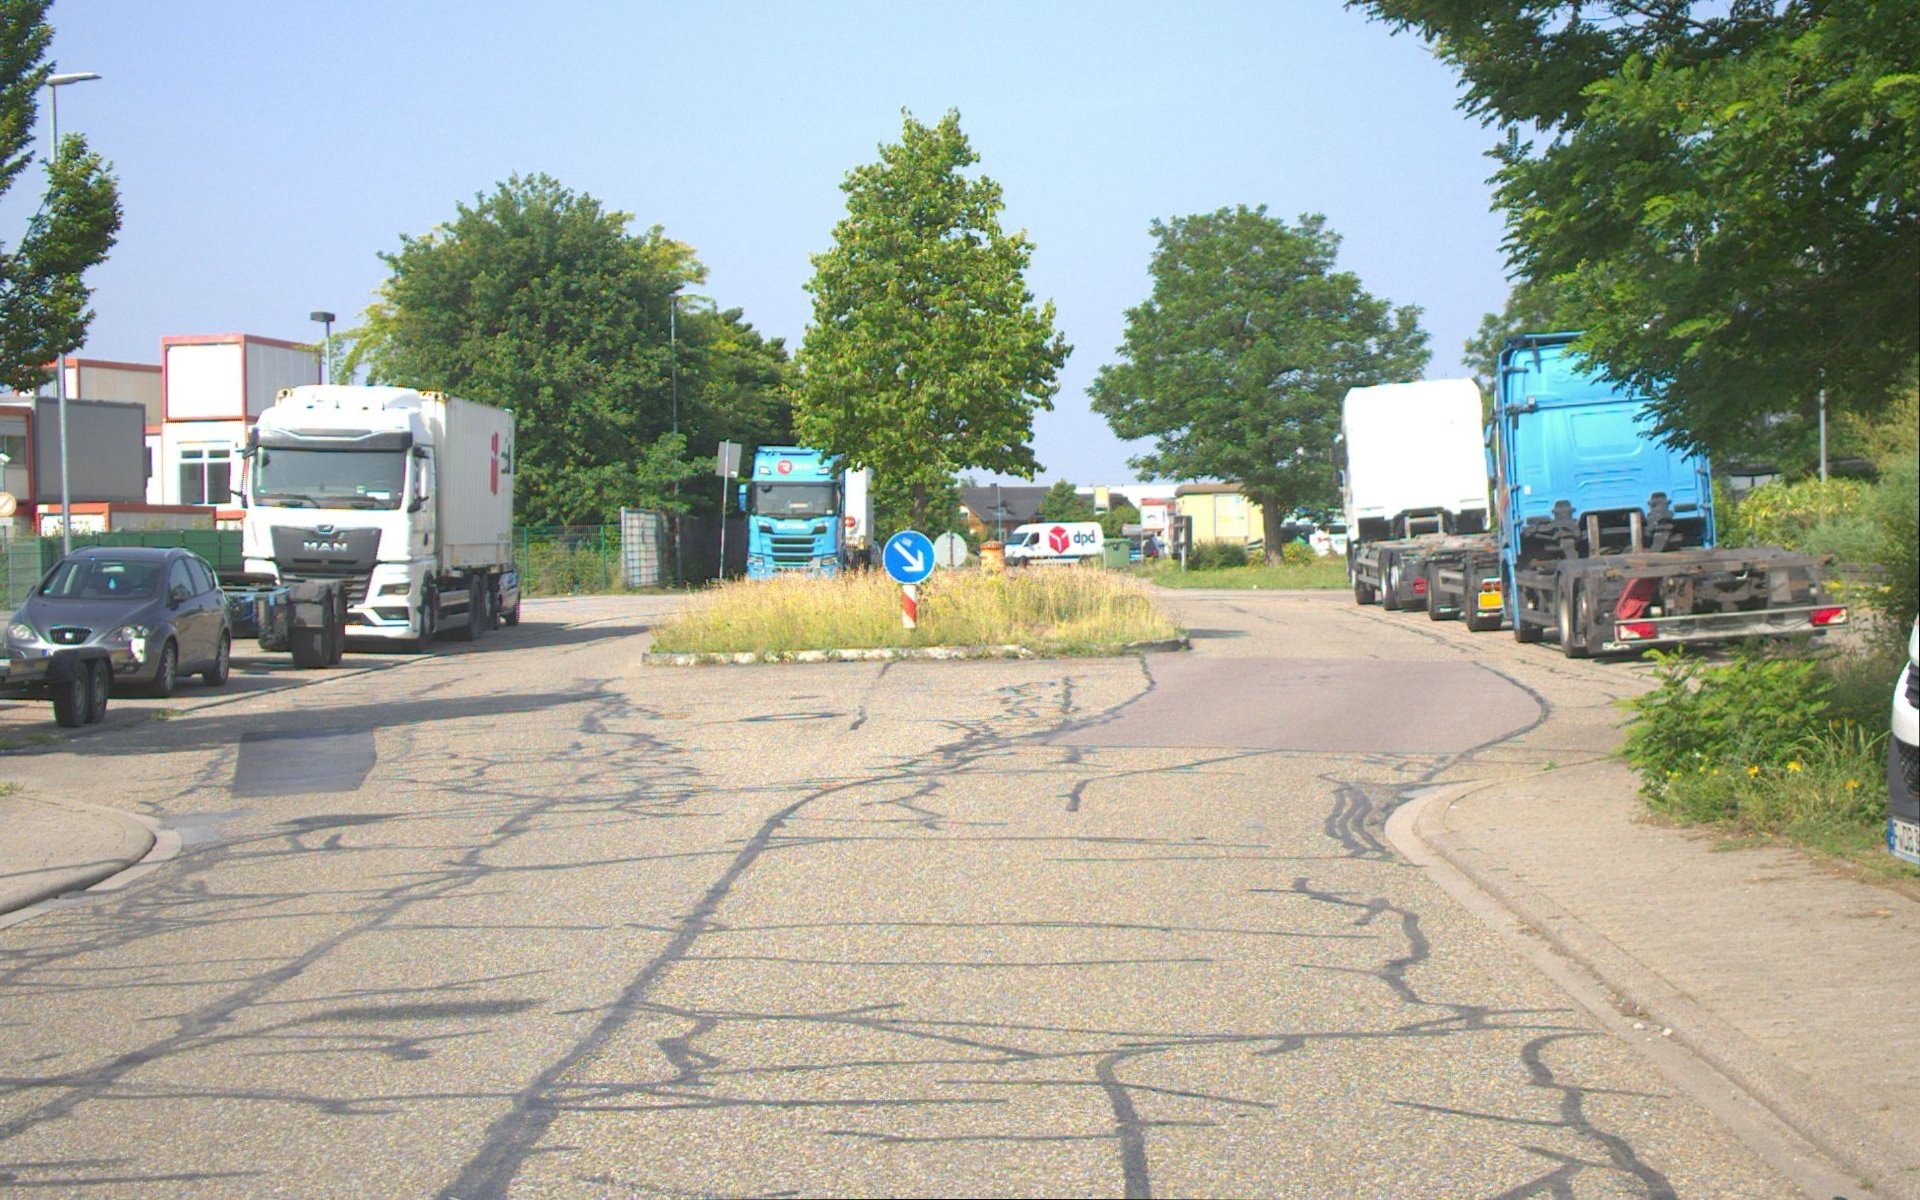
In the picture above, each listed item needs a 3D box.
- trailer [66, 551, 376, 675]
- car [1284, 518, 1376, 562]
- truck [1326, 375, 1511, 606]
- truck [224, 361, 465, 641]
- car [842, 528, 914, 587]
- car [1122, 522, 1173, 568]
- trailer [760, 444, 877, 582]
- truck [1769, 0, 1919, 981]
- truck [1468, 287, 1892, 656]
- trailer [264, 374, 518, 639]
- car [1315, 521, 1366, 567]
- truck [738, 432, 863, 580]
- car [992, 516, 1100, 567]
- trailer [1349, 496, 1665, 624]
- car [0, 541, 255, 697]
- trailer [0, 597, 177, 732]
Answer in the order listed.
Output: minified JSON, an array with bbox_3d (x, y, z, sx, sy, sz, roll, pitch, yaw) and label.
[{"bbox_3d":[-9.345,0.122,44.017,2.681,1.448,5.077,0,1,2],"label":"trailer"},{"bbox_3d":[11.771,-1.894,109.550,1.667,1.325,3.664,1,0,-15],"label":"car"},{"bbox_3d":[8.453,-2.003,63.758,2.746,3.968,4.000,-4,1,1],"label":"truck"},{"bbox_3d":[-8.994,-1.398,50.641,2.709,3.908,4.297,1,0,1],"label":"truck"},{"bbox_3d":[-2.901,-1.507,121.044,1.993,2.007,4.001,-1,1,-8],"label":"car"},{"bbox_3d":[7.374,-2.139,135.228,1.792,1.744,4.000,1,0,0],"label":"car"},{"bbox_3d":[-4.170,-2.498,103.849,2.831,3.830,12.036,1,0,1],"label":"trailer"},{"bbox_3d":[6.951,-0.660,10.519,8.208,3.359,2.741,-2,0,1],"label":"truck"},{"bbox_3d":[8.036,-1.327,39.817,2.888,3.523,9.754,-5,0,2],"label":"truck"},{"bbox_3d":[-8.953,-1.395,54.978,2.699,3.908,7.575,1,0,1],"label":"trailer"},{"bbox_3d":[13.999,-2.063,126.565,1.717,1.612,3.999,1,0,4],"label":"car"},{"bbox_3d":[-4.331,-2.493,95.102,2.825,3.812,9.672,1,0,1],"label":"truck"},{"bbox_3d":[4.873,-3.295,194.190,5.768,2.724,2.000,1,0,-27],"label":"car"},{"bbox_3d":[8.336,-0.681,54.716,2.746,1.568,16.171,-3,1,1],"label":"trailer"},{"bbox_3d":[-9.139,0.161,37.950,1.696,1.556,4.336,1,1,1],"label":"car"},{"bbox_3d":[-9.142,0.519,31.113,2.547,0.922,6.710,2,1,0],"label":"trailer"}]
